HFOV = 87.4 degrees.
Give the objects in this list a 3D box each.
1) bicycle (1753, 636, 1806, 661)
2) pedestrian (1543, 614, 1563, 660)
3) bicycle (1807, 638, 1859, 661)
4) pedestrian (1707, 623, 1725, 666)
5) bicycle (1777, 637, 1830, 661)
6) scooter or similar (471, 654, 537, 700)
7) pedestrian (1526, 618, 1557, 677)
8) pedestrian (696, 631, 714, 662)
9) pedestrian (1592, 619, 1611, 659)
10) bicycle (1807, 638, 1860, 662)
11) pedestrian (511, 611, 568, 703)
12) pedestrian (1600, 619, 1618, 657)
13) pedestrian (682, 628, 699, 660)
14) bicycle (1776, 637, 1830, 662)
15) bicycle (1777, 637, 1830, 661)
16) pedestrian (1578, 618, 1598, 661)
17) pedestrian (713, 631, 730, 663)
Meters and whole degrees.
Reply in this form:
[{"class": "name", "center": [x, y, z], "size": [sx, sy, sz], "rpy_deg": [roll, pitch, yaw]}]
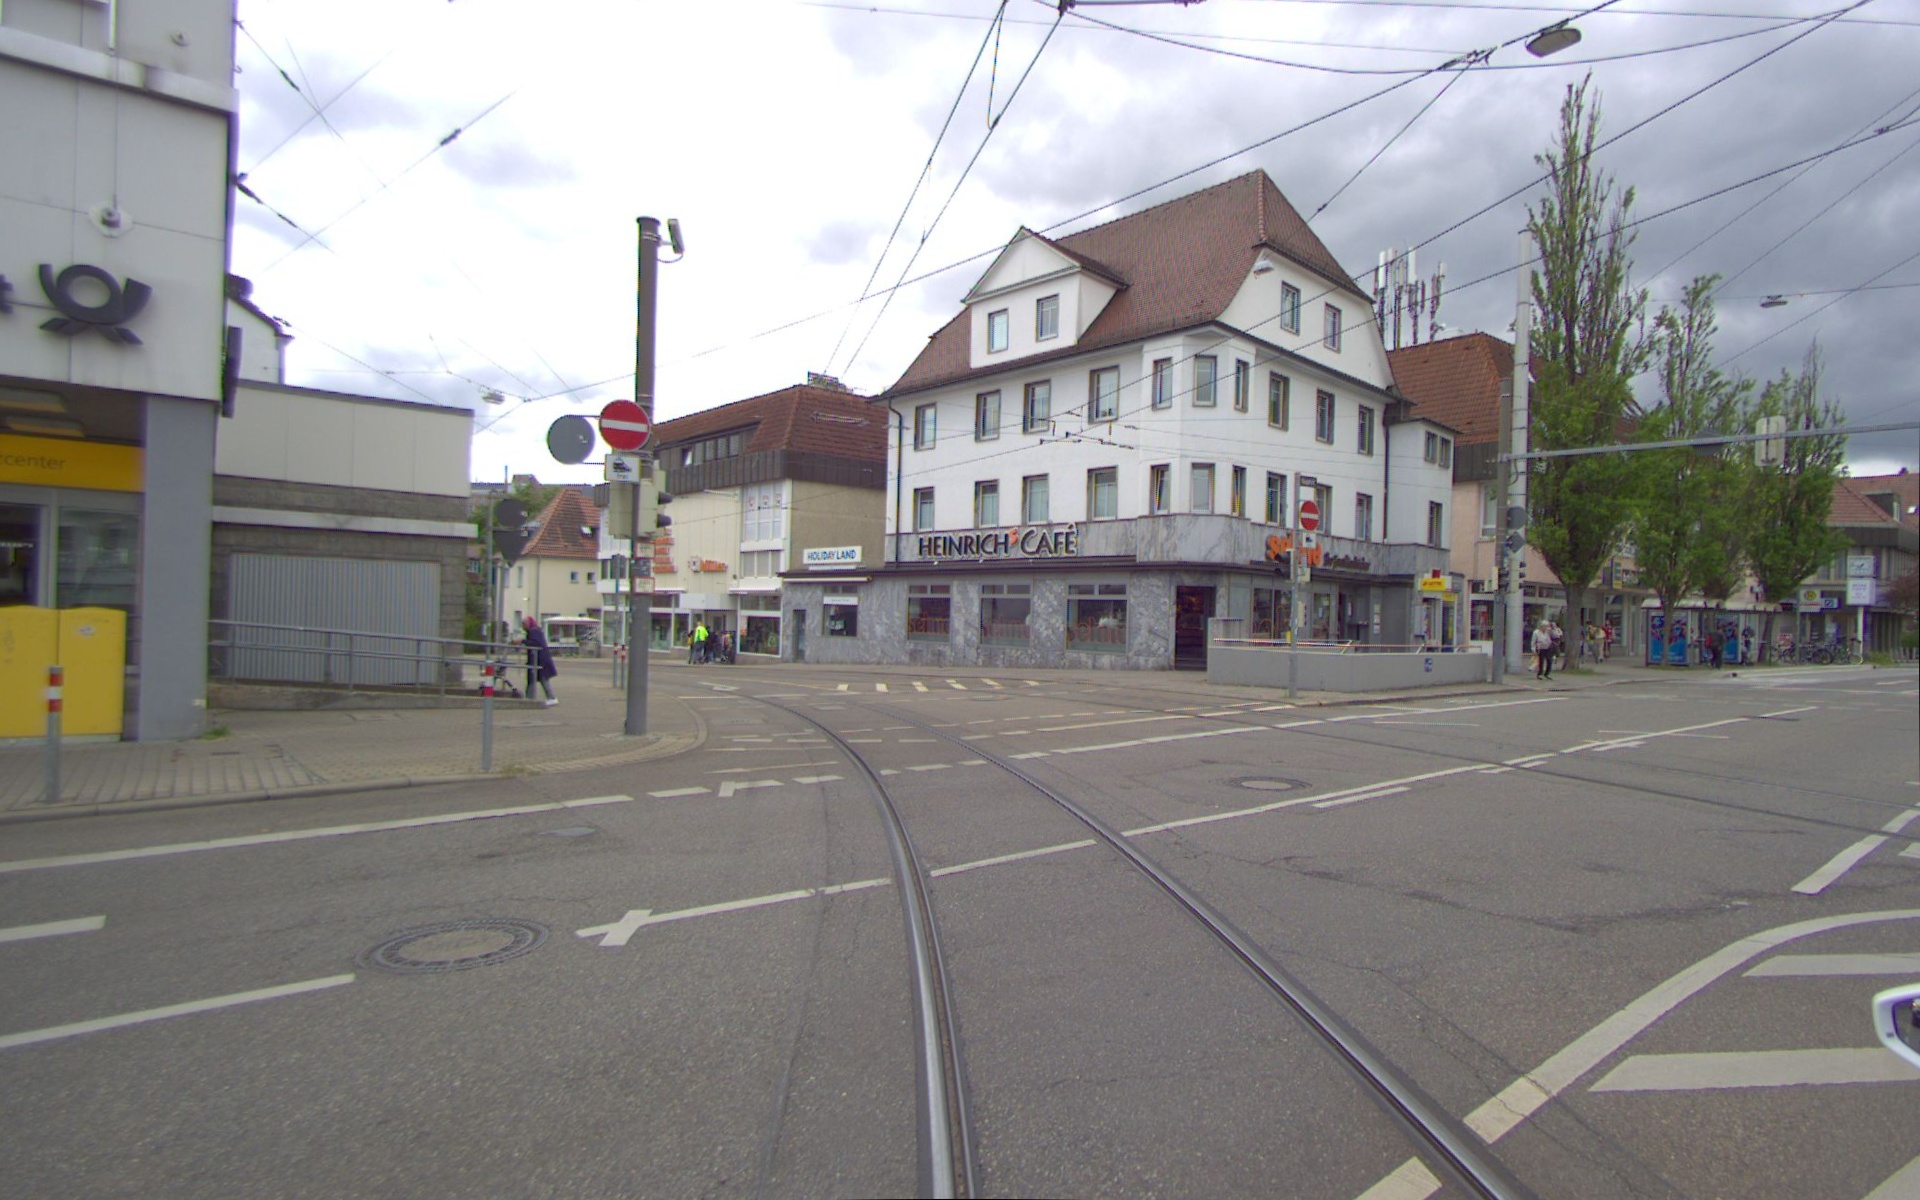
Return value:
[{"class": "bicycle", "center": [39.043, 2.298, 47.861], "size": [1.917, 1.043, 0.527], "rpy_deg": [2, 1, 44]}, {"class": "pedestrian", "center": [24.736, 1.535, 41.909], "size": [0.634, 1.860, 0.577], "rpy_deg": [1, 0, 39]}, {"class": "bicycle", "center": [43.352, 2.445, 49.885], "size": [1.917, 1.043, 0.527], "rpy_deg": [2, 1, 44]}, {"class": "pedestrian", "center": [28.298, 1.664, 37.606], "size": [0.526, 1.567, 0.577], "rpy_deg": [1, 0, 37]}, {"class": "bicycle", "center": [40.876, 2.361, 48.690], "size": [1.917, 1.043, 0.527], "rpy_deg": [2, 1, 44]}, {"class": "scooter or similar", "center": [-7.207, 1.213, 15.890], "size": [0.876, 0.701, 0.345], "rpy_deg": [1, 0, -11]}, {"class": "pedestrian", "center": [16.444, 1.327, 28.396], "size": [0.626, 1.627, 0.701], "rpy_deg": [1, 0, 40]}, {"class": "pedestrian", "center": [-11.889, 2.148, 46.817], "size": [0.500, 1.433, 0.645], "rpy_deg": [1, 0, -45]}, {"class": "pedestrian", "center": [26.591, 1.605, 41.655], "size": [0.571, 1.627, 0.641], "rpy_deg": [1, 0, 40]}, {"class": "bicycle", "center": [42.707, 2.426, 49.132], "size": [1.917, 1.043, 0.527], "rpy_deg": [2, 1, 44]}, {"class": "pedestrian", "center": [-6.714, 0.907, 16.060], "size": [0.739, 1.433, 0.502], "rpy_deg": [1, 0, -12]}, {"class": "pedestrian", "center": [28.280, 1.654, 43.759], "size": [0.571, 1.627, 0.641], "rpy_deg": [1, 0, 40]}, {"class": "pedestrian", "center": [-12.422, 2.034, 46.285], "size": [0.500, 1.433, 0.645], "rpy_deg": [1, 0, -45]}, {"class": "bicycle", "center": [40.048, 2.336, 47.718], "size": [1.917, 1.043, 0.527], "rpy_deg": [2, 1, 44]}, {"class": "bicycle", "center": [40.486, 2.349, 48.228], "size": [1.917, 1.043, 0.527], "rpy_deg": [2, 1, 44]}, {"class": "pedestrian", "center": [24.724, 1.549, 39.561], "size": [0.571, 1.627, 0.641], "rpy_deg": [1, 0, 40]}, {"class": "pedestrian", "center": [-11.122, 2.177, 46.781], "size": [0.500, 1.433, 0.645], "rpy_deg": [1, 0, -45]}]
